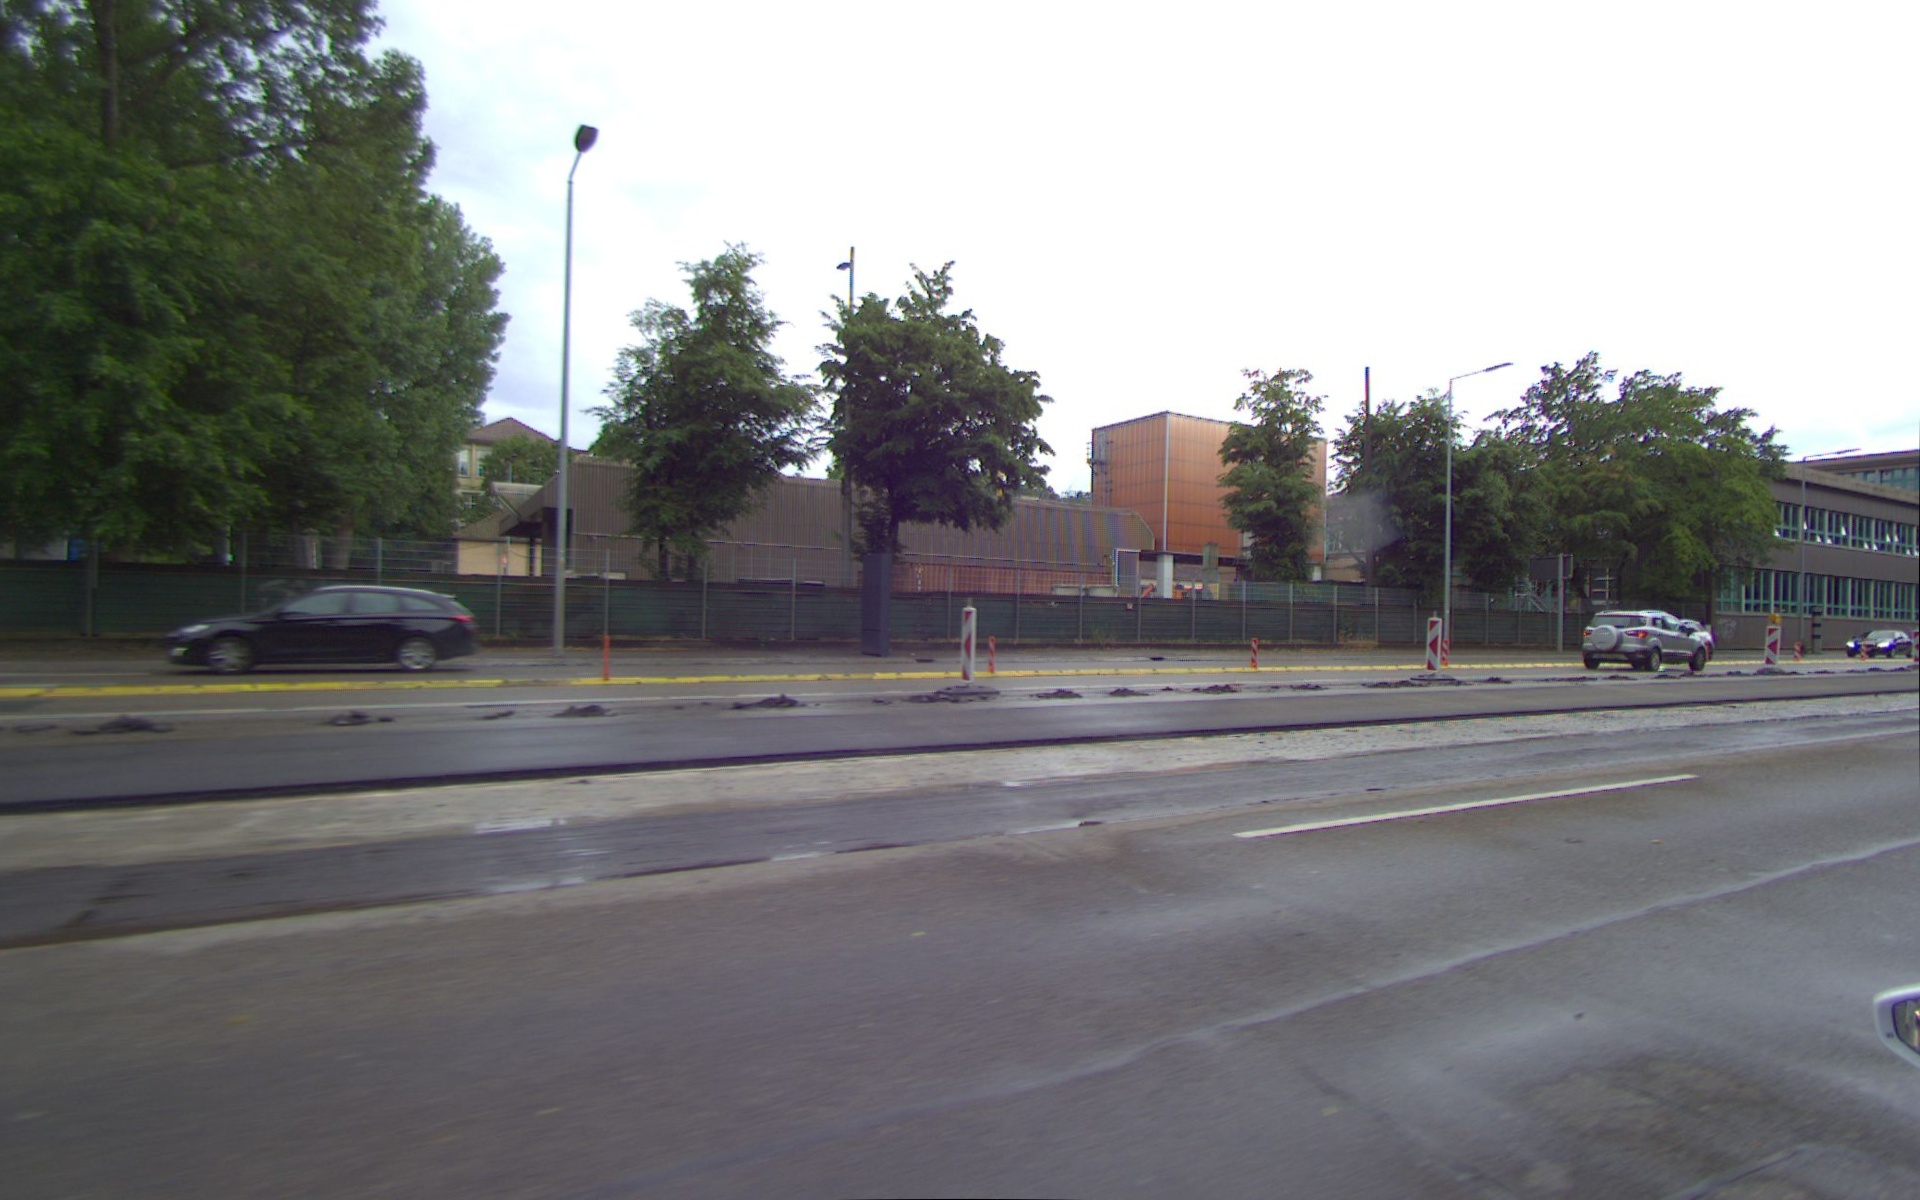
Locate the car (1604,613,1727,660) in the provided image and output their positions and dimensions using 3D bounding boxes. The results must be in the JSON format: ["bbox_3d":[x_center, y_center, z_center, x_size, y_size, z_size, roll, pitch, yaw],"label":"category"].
[{"bbox_3d":[24.950,1.274,35.517,4.216,1.533,1.984,1,0,-30],"label":"car"}]

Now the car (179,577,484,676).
[{"bbox_3d":[-10.731,0.464,17.498,4.255,1.538,1.984,2,0,-31],"label":"car"}]

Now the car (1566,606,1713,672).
[{"bbox_3d":[18.858,1.068,27.843,3.954,1.670,1.845,2,0,-31],"label":"car"}]

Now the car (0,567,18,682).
[{"bbox_3d":[-14.765,0.283,11.789,5.030,1.533,2.068,1,0,-30],"label":"car"}]

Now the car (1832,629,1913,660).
[{"bbox_3d":[47.029,2.264,51.770,4.217,1.448,1.983,1,0,-32],"label":"car"}]
